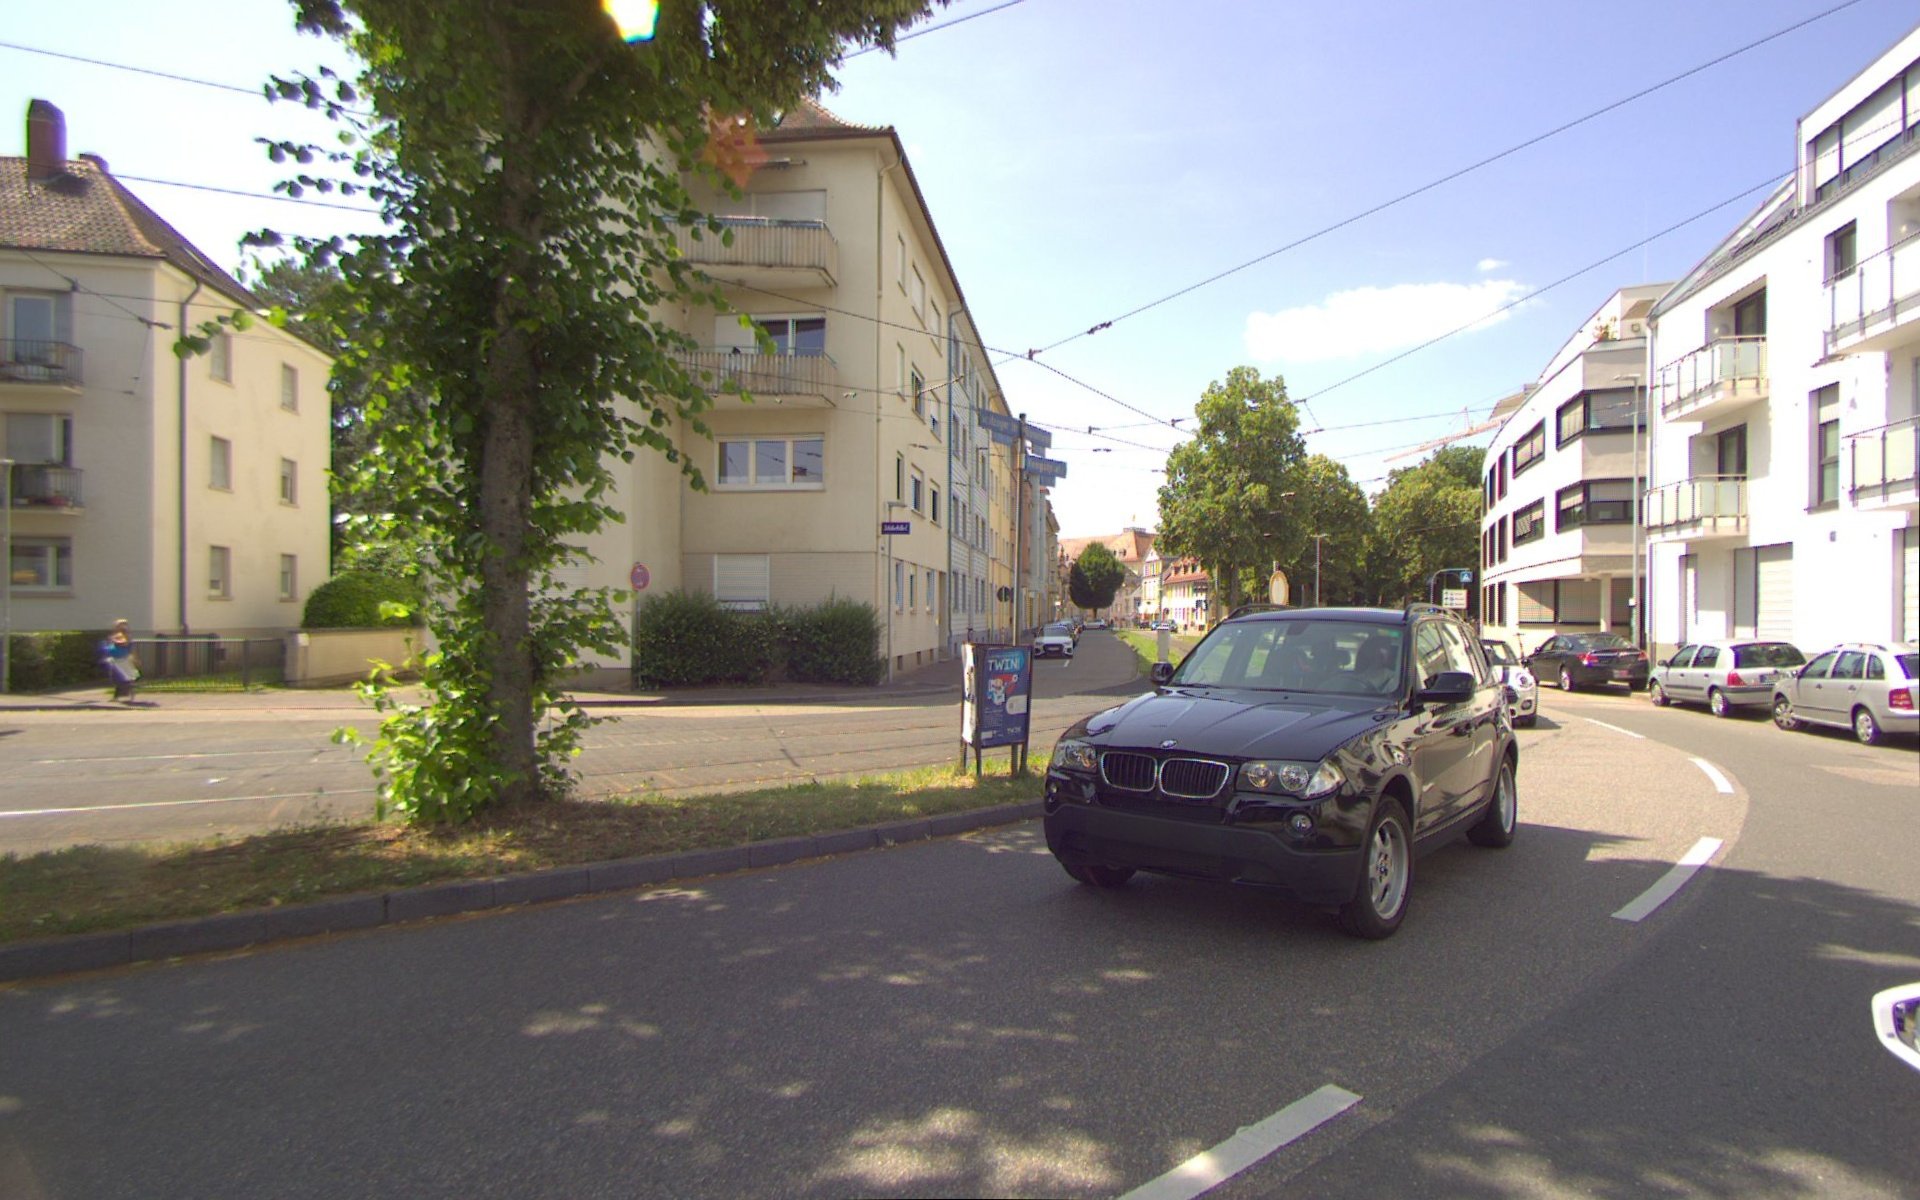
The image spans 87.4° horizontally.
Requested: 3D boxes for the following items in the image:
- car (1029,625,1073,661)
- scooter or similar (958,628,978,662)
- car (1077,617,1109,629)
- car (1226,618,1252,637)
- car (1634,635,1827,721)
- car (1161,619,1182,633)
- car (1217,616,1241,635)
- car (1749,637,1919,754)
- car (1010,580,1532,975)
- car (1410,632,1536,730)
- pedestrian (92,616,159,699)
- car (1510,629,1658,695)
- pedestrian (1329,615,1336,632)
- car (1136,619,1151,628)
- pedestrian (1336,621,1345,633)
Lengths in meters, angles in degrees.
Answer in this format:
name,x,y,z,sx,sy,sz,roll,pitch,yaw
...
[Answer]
name,x,y,z,sx,sy,sz,roll,pitch,yaw
car,4.220,1.949,46.504,1.895,1.470,4.378,-2,-1,6
scooter or similar,0.322,1.813,40.628,0.627,1.240,1.321,1,2,8
car,18.164,3.149,137.430,4.132,1.525,2.005,-1,-1,4
car,28.551,2.836,102.903,1.959,1.850,4.425,1,0,7
car,15.183,1.488,20.043,1.566,1.451,3.709,-3,-2,12
car,24.362,2.966,115.735,1.871,1.554,4.246,2,-1,6
car,29.785,2.832,111.242,2.014,2.029,5.252,1,-1,9
car,14.152,1.373,15.467,1.698,1.451,4.044,-4,-2,17
car,2.304,0.836,6.502,1.833,1.653,4.311,-1,-3,38
car,8.800,1.320,17.496,1.745,1.483,3.745,0,-2,24
pedestrian,-16.453,1.116,19.819,0.731,1.580,0.775,0,0,-13
car,16.432,1.581,26.735,1.769,1.529,4.551,-3,-2,11
pedestrian,42.443,2.684,114.457,0.735,1.936,0.684,1,1,22
car,30.797,3.967,168.930,1.829,1.506,4.001,1,-1,1
pedestrian,43.199,3.072,114.109,0.891,1.269,1.147,1,1,23
